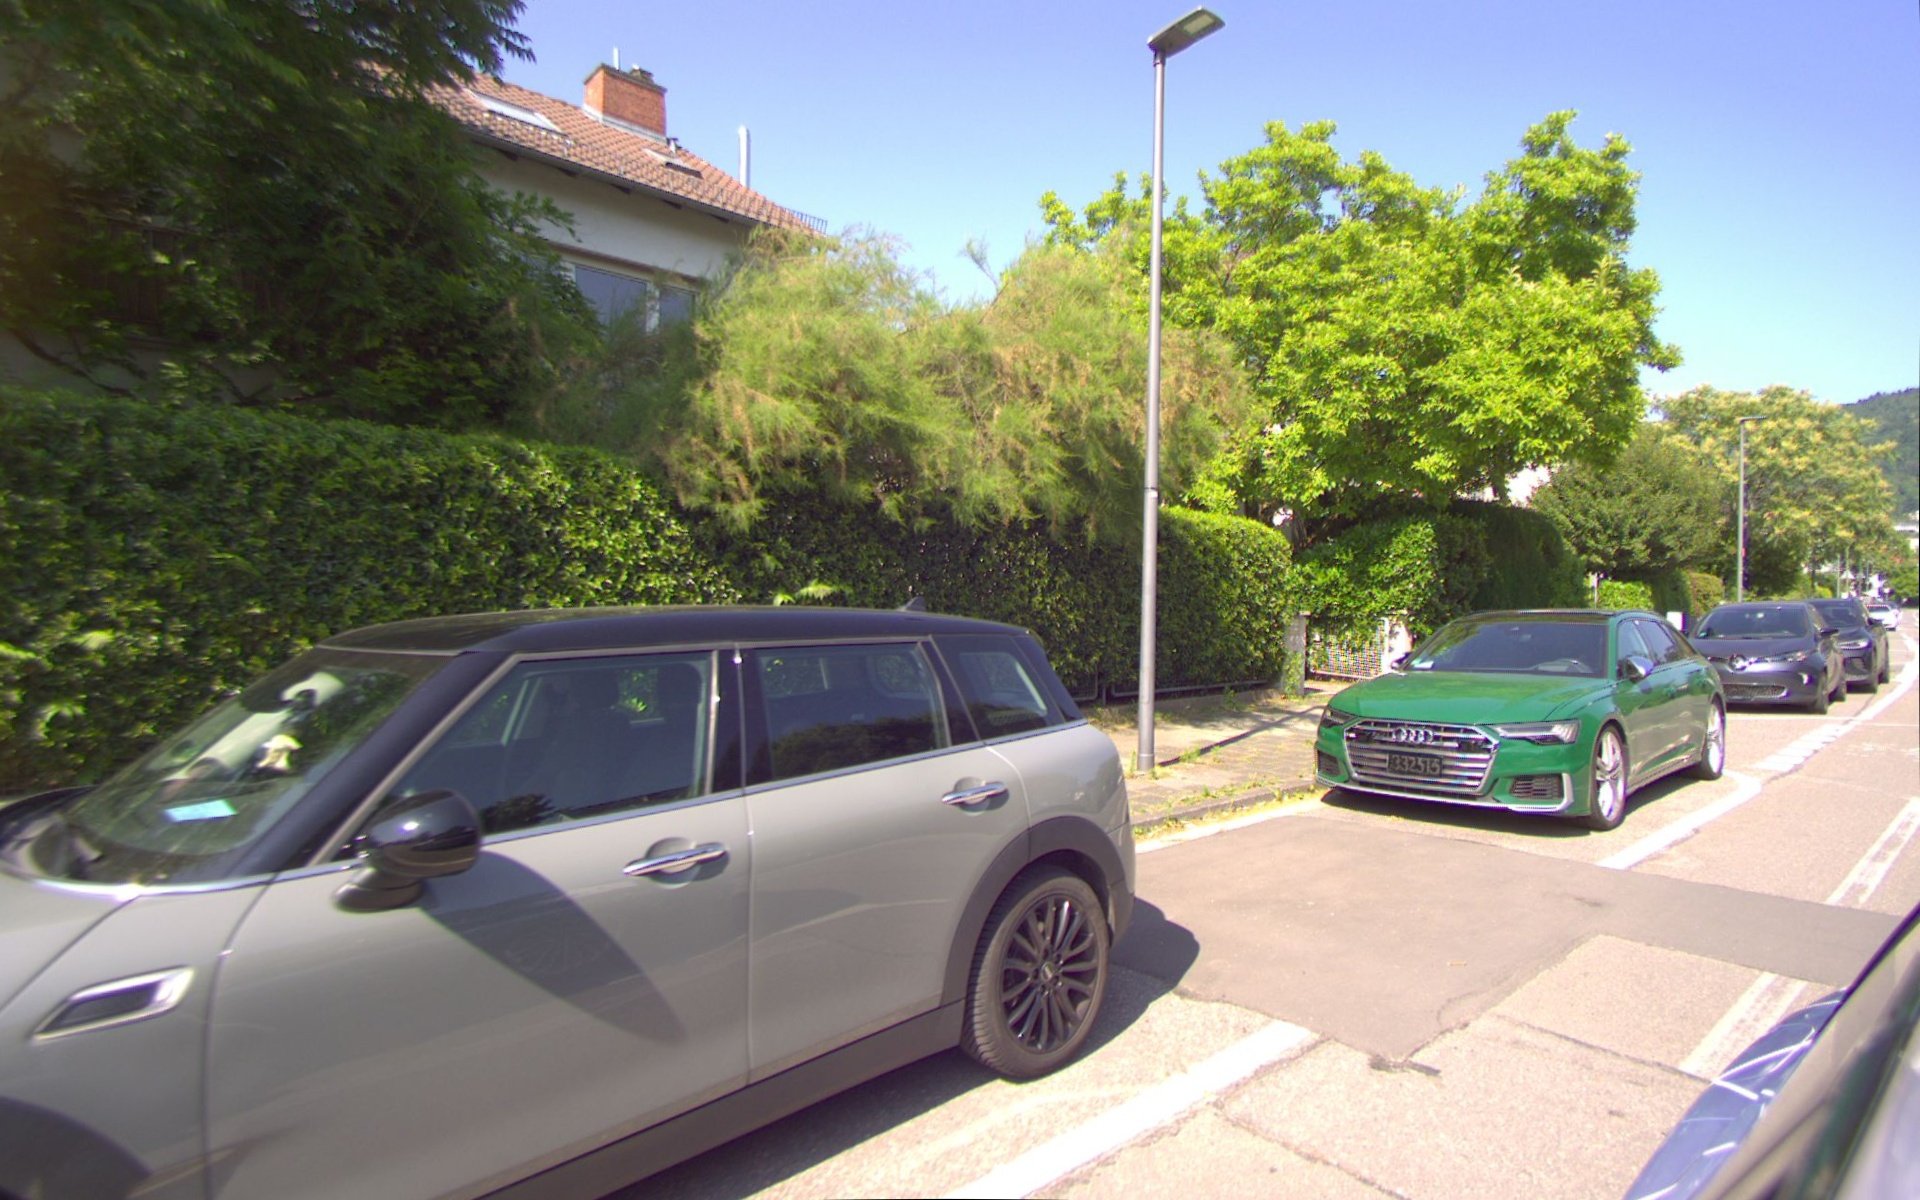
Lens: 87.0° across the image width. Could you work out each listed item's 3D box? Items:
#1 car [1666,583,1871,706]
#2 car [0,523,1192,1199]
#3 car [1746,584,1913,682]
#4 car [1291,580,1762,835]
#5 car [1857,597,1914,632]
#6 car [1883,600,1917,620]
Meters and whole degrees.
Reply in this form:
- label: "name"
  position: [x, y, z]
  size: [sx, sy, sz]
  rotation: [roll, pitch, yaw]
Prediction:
- label: "car"
  position: [12.055, 0.639, 15.011]
  size: [3.851, 1.579, 1.813]
  rotation: [1, -4, -44]
- label: "car"
  position: [-1.240, 0.595, 2.835]
  size: [4.001, 1.461, 1.764]
  rotation: [1, 1, -44]
- label: "car"
  position: [16.010, 0.576, 18.546]
  size: [4.522, 1.579, 1.814]
  rotation: [1, -2, -43]
- label: "car"
  position: [4.757, 0.675, 8.151]
  size: [4.704, 1.482, 1.814]
  rotation: [1, -2, -41]
- label: "car"
  position: [48.102, 0.730, 52.679]
  size: [1.991, 1.727, 3.942]
  rotation: [1, 1, 40]
- label: "car"
  position: [85.414, 0.891, 91.980]
  size: [1.991, 1.727, 3.942]
  rotation: [1, 1, 40]
